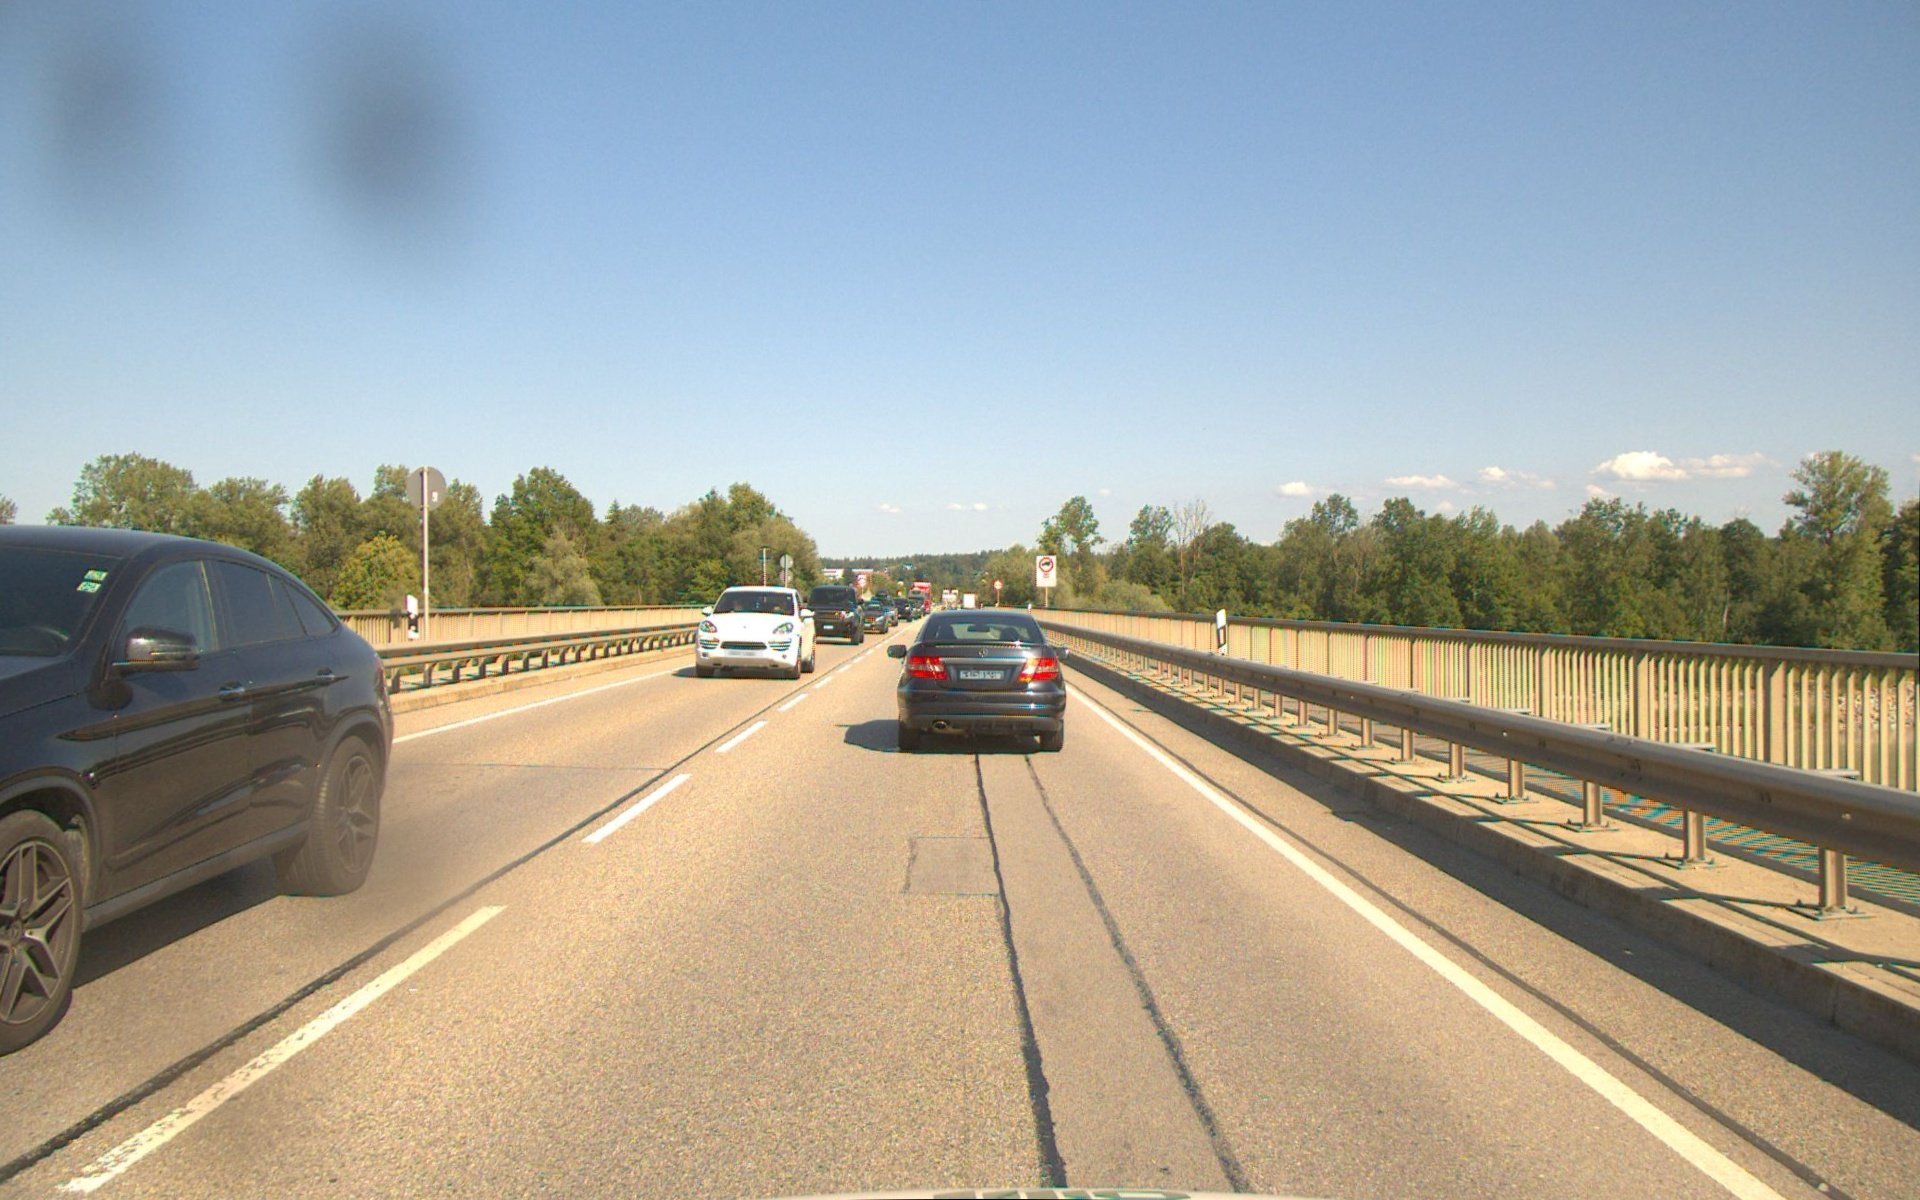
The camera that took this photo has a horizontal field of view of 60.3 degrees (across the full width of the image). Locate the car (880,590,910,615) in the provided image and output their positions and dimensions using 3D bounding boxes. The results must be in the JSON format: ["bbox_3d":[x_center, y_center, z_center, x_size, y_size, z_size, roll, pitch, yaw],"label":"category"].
[{"bbox_3d":[-4.725,0.172,119.922,2.013,1.681,4.718,2,0,-4],"label":"car"}]

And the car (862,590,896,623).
[{"bbox_3d":[-4.679,0.345,96.093,1.817,1.752,4.564,4,0,-2],"label":"car"}]

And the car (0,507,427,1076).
[{"bbox_3d":[-3.852,0.574,6.707,1.909,1.723,4.476,0,0,0],"label":"car"}]

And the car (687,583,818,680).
[{"bbox_3d":[-3.885,0.545,31.712,1.943,1.680,4.597,1,0,-1],"label":"car"}]

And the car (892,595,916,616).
[{"bbox_3d":[-4.615,0.416,136.577,1.771,1.604,4.198,4,0,-4],"label":"car"}]

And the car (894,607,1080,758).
[{"bbox_3d":[0.248,0.785,17.663,1.757,1.400,4.000,0,0,0],"label":"car"}]

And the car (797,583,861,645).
[{"bbox_3d":[-4.365,0.435,55.766,1.997,1.906,5.066,2,0,-4],"label":"car"}]

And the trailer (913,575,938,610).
[{"bbox_3d":[-4.496,-0.959,218.634,2.849,4.376,14.299,4,0,-1],"label":"trailer"}]

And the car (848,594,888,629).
[{"bbox_3d":[-4.117,0.498,73.518,1.730,1.472,4.453,1,0,-4],"label":"car"}]

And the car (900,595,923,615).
[{"bbox_3d":[-4.361,0.462,147.968,1.837,1.611,4.271,2,1,-4],"label":"car"}]
